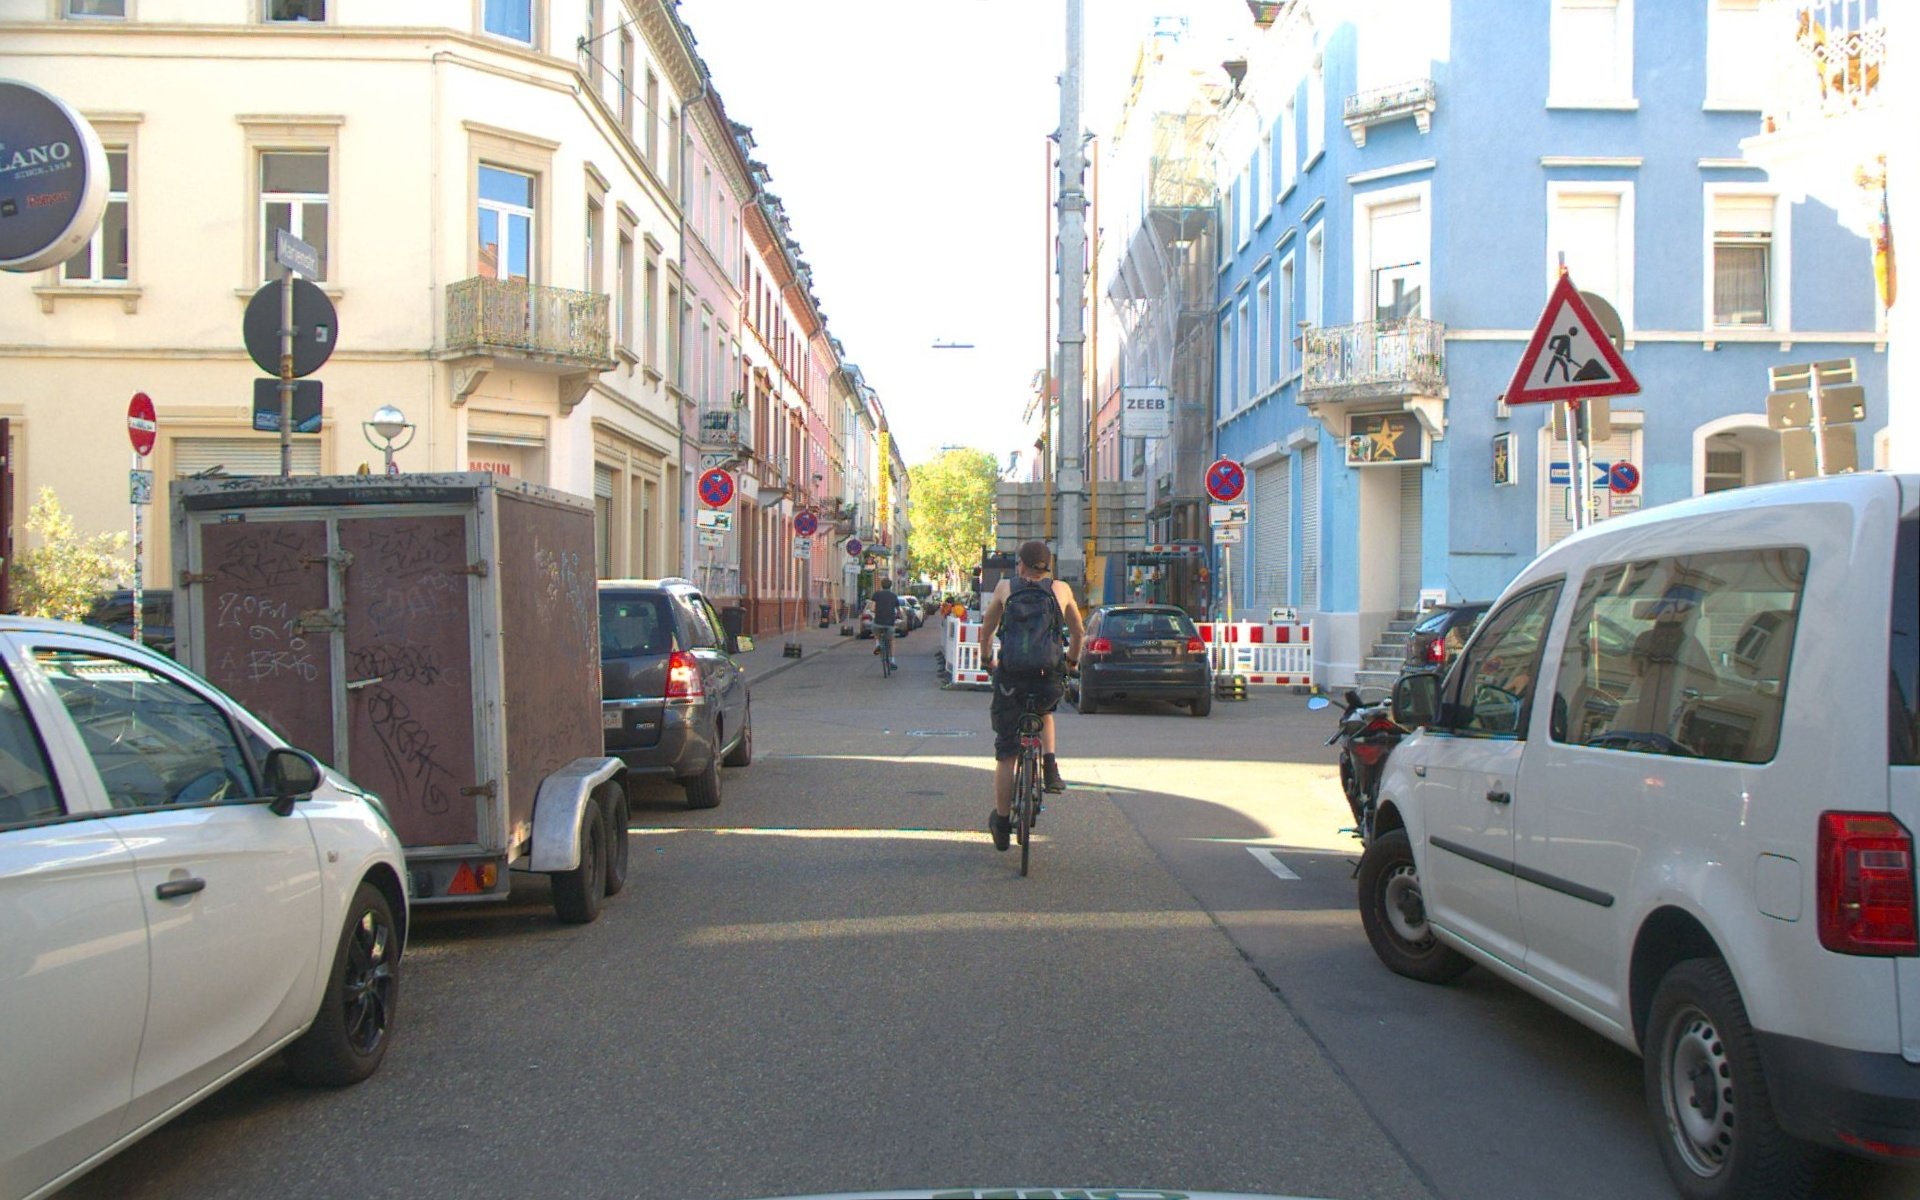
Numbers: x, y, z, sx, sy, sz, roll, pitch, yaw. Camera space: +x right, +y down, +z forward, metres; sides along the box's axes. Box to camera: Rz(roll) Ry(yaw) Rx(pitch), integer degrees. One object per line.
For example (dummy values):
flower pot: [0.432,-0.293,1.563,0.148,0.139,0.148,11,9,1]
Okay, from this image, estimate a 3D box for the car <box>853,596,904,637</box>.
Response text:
car: [-3.014,0.611,61.982,1.676,1.407,4.505,-2,0,0]

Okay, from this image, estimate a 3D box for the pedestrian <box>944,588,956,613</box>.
pedestrian: [-0.638,0.035,108.884,0.755,1.606,0.900,1,0,0]

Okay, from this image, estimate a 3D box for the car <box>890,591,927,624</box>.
car: [-2.452,0.362,79.543,1.638,1.467,4.165,-2,0,0]

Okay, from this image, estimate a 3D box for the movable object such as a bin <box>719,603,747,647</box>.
movable object such as a bin: [-5.557,0.608,40.526,0.593,1.053,0.596,1,0,-2]

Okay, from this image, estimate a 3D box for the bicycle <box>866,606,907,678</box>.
bicycle: [-1.371,0.762,31.163,0.687,1.229,2.342,-1,1,-1]

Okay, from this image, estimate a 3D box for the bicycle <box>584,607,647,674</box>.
bicycle: [-5.672,0.657,27.304,0.591,1.040,1.818,4,-1,0]

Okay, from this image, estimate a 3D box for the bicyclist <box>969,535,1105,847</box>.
bicyclist: [0.420,0.489,9.440,0.687,1.662,1.090,1,0,0]

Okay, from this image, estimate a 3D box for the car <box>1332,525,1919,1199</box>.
car: [2.637,0.763,5.561,1.713,1.848,4.369,-1,0,-1]

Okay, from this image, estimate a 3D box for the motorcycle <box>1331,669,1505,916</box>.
motorcycle: [2.479,0.988,9.155,0.703,1.105,1.998,3,0,10]

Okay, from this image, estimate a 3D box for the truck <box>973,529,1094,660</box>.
truck: [1.671,-0.110,40.764,2.607,2.863,7.393,1,0,0]

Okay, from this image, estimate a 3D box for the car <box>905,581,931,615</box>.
car: [-3.241,-0.147,126.781,1.871,2.540,4.163,-1,0,-2]

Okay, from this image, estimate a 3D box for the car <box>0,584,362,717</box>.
car: [-9.488,0.573,19.724,4.056,1.481,1.758,1,0,-3]

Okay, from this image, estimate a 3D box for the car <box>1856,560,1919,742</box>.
car: [10.727,0.493,15.207,3.976,1.661,1.856,1,-2,0]

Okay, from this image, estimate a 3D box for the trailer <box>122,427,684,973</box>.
trailer: [-2.543,0.393,8.675,1.628,2.097,4.361,-1,0,-3]

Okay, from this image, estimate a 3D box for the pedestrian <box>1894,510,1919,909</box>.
pedestrian: [4.770,0.487,7.167,0.809,1.824,0.990,-2,0,-1]

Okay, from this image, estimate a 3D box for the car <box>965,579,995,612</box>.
car: [1.632,-0.365,137.901,2.261,2.582,6.769,-2,0,0]

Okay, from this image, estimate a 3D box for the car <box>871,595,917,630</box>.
car: [-2.844,0.539,72.125,1.675,1.407,4.357,0,1,2]

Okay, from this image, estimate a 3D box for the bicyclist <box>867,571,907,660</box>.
bicyclist: [-1.365,0.281,31.046,0.687,1.633,0.812,-1,1,-1]

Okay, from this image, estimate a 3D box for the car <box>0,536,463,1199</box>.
car: [-2.529,0.699,3.777,1.642,1.582,3.817,-1,0,-1]

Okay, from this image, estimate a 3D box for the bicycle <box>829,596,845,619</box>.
bicycle: [-6.015,0.367,80.956,0.580,1.108,2.079,1,0,0]

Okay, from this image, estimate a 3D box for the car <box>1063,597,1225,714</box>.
car: [2.468,0.699,23.038,1.735,1.459,4.033,1,0,-1]

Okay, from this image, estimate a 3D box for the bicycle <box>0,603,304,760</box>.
bicycle: [-7.385,0.719,15.092,2.425,1.383,0.928,0,0,0]

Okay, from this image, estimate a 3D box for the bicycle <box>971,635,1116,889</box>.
bicycle: [0.432,0.843,9.536,0.687,1.229,2.342,1,0,0]

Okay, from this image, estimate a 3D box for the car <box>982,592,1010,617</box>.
car: [2.296,0.291,106.000,1.587,1.577,3.999,-2,0,0]

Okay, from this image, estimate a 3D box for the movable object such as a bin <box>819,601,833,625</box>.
movable object such as a bin: [-5.504,0.542,68.009,0.532,0.961,0.487,1,0,0]

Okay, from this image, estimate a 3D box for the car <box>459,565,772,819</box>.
car: [-2.502,0.582,12.991,1.687,1.633,4.165,-1,1,-2]

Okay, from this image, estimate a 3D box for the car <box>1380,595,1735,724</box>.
car: [7.312,0.701,20.493,3.788,1.479,1.677,1,0,0]

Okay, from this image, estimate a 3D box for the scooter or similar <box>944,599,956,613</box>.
scooter or similar: [-0.645,0.388,108.448,0.755,0.888,0.771,1,0,0]
